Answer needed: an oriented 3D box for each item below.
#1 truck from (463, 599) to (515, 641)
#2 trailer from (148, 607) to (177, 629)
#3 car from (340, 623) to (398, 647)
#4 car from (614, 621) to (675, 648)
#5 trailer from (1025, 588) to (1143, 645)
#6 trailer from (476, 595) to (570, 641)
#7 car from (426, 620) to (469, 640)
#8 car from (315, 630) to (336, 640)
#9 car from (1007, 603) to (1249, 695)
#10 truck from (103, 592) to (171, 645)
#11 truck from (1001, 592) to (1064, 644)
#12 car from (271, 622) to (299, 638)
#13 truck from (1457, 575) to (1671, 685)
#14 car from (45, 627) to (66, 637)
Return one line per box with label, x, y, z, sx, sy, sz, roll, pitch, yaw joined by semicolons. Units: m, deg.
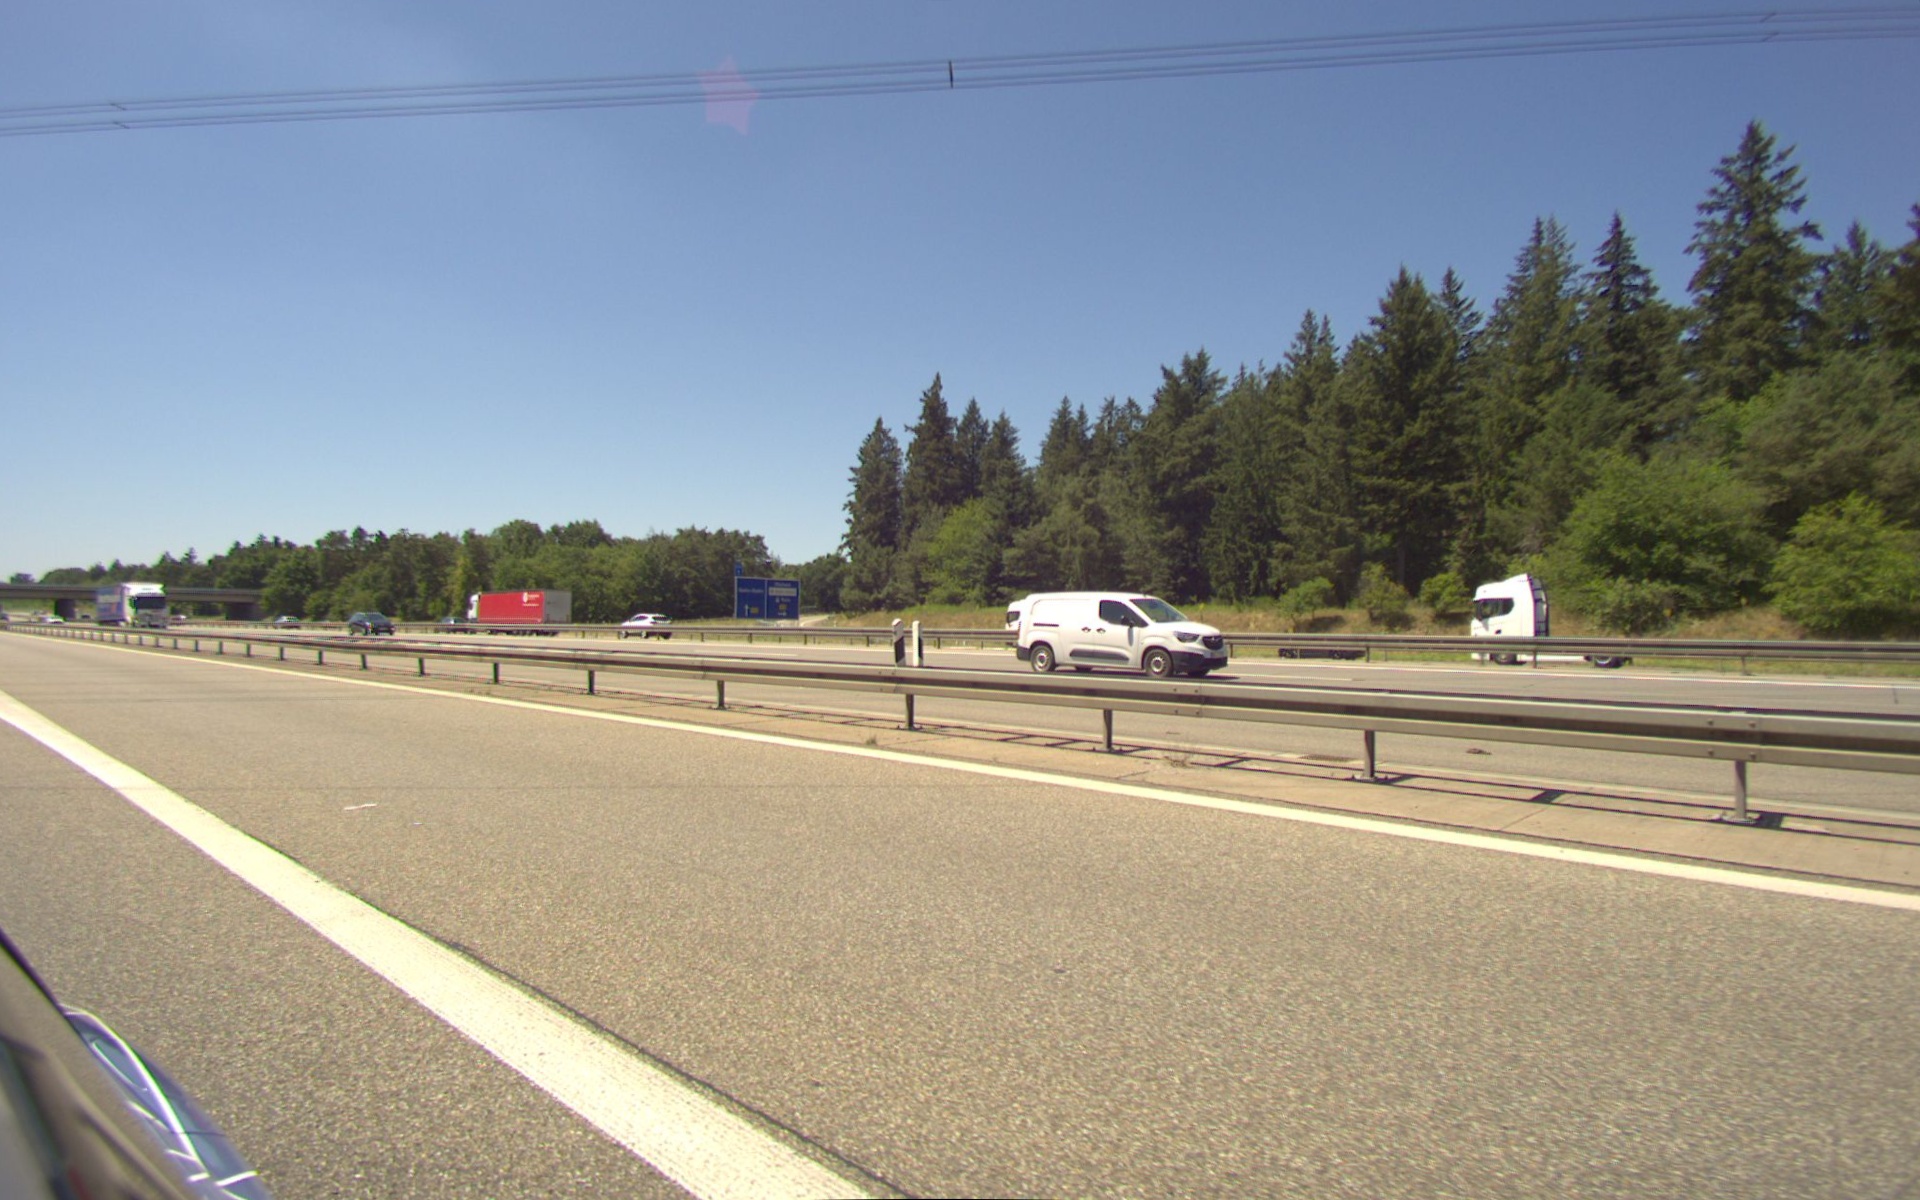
truck;-45.012;1.955;96.576;5.667;3.826;2.514;-2;-3;42
trailer;-167.313;3.724;212.326;2.891;4.421;14.305;5;-4;-45
car;-38.636;2.253;66.157;4.239;1.487;1.973;-1;-2;40
car;-21.383;2.309;68.495;4.825;1.696;1.752;0;-1;42
trailer;8.669;1.281;72.013;2.736;3.827;8.954;1;-3;-38
trailer;-39.733;1.732;91.667;13.739;3.826;2.514;-2;-3;43
car;-46.211;2.703;91.180;4.825;1.696;1.894;0;-1;42
car;-108.989;6.033;173.824;3.997;1.663;1.973;-2;-2;40
car;3.499;1.000;21.840;5.019;1.767;1.752;-1;-2;42
truck;-68.197;1.574;83.740;11.045;4.089;2.674;-2;-2;42
truck;5.419;1.412;76.211;2.732;3.826;4.007;1;-3;-39
car;-76.983;3.449;115.402;4.828;1.696;1.751;0;-1;45
truck;26.077;1.216;43.956;7.533;4.378;2.828;0;-1;44
car;-142.299;5.043;159.186;3.997;1.580;1.973;-2;-2;40
